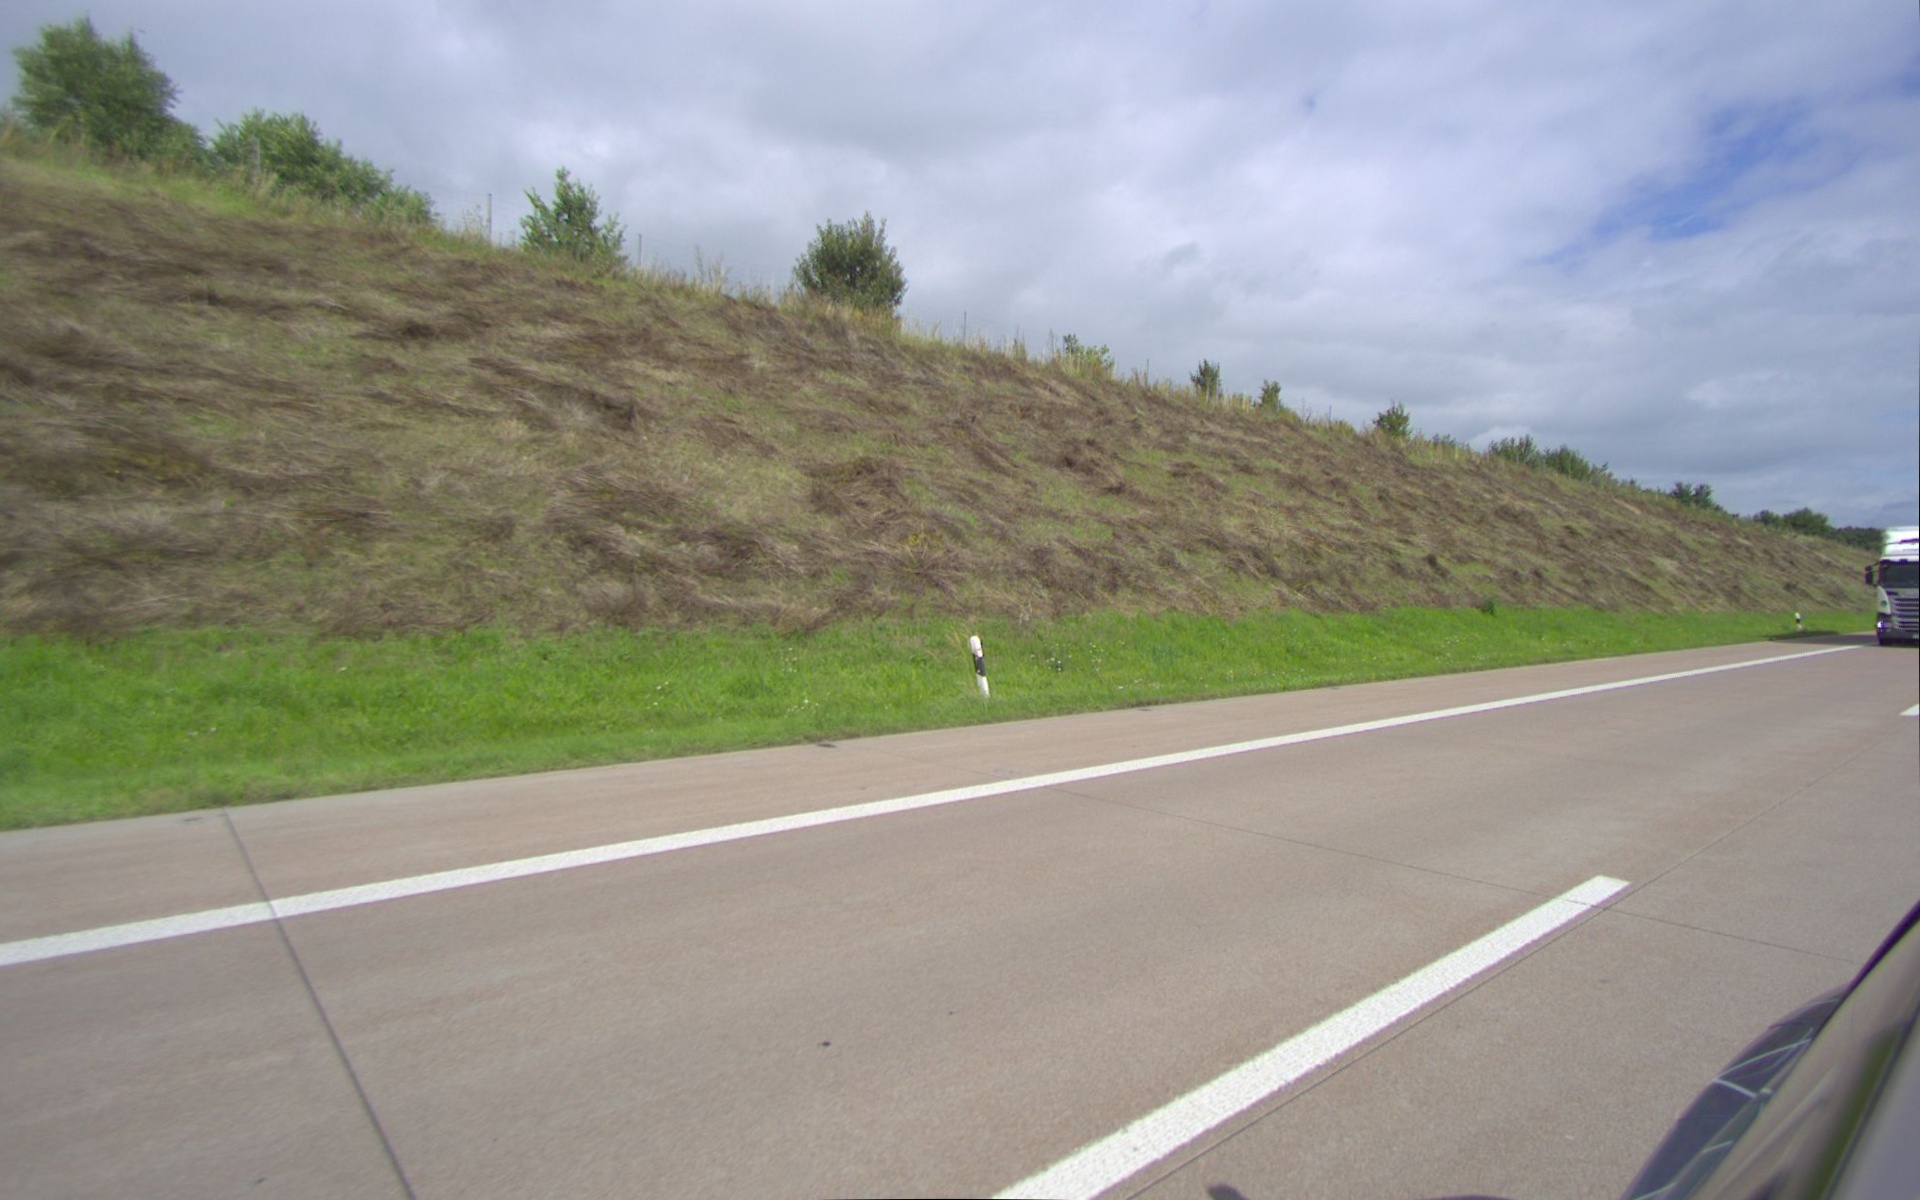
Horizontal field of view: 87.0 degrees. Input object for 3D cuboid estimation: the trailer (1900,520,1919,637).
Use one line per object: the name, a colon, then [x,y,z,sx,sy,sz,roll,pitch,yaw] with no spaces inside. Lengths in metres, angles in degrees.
trailer: [39.248,-0.740,39.313,12.565,4.145,2.677,0,0,-41]

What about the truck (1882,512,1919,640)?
truck: [33.767,-0.761,34.521,6.500,4.157,2.679,0,0,-41]
